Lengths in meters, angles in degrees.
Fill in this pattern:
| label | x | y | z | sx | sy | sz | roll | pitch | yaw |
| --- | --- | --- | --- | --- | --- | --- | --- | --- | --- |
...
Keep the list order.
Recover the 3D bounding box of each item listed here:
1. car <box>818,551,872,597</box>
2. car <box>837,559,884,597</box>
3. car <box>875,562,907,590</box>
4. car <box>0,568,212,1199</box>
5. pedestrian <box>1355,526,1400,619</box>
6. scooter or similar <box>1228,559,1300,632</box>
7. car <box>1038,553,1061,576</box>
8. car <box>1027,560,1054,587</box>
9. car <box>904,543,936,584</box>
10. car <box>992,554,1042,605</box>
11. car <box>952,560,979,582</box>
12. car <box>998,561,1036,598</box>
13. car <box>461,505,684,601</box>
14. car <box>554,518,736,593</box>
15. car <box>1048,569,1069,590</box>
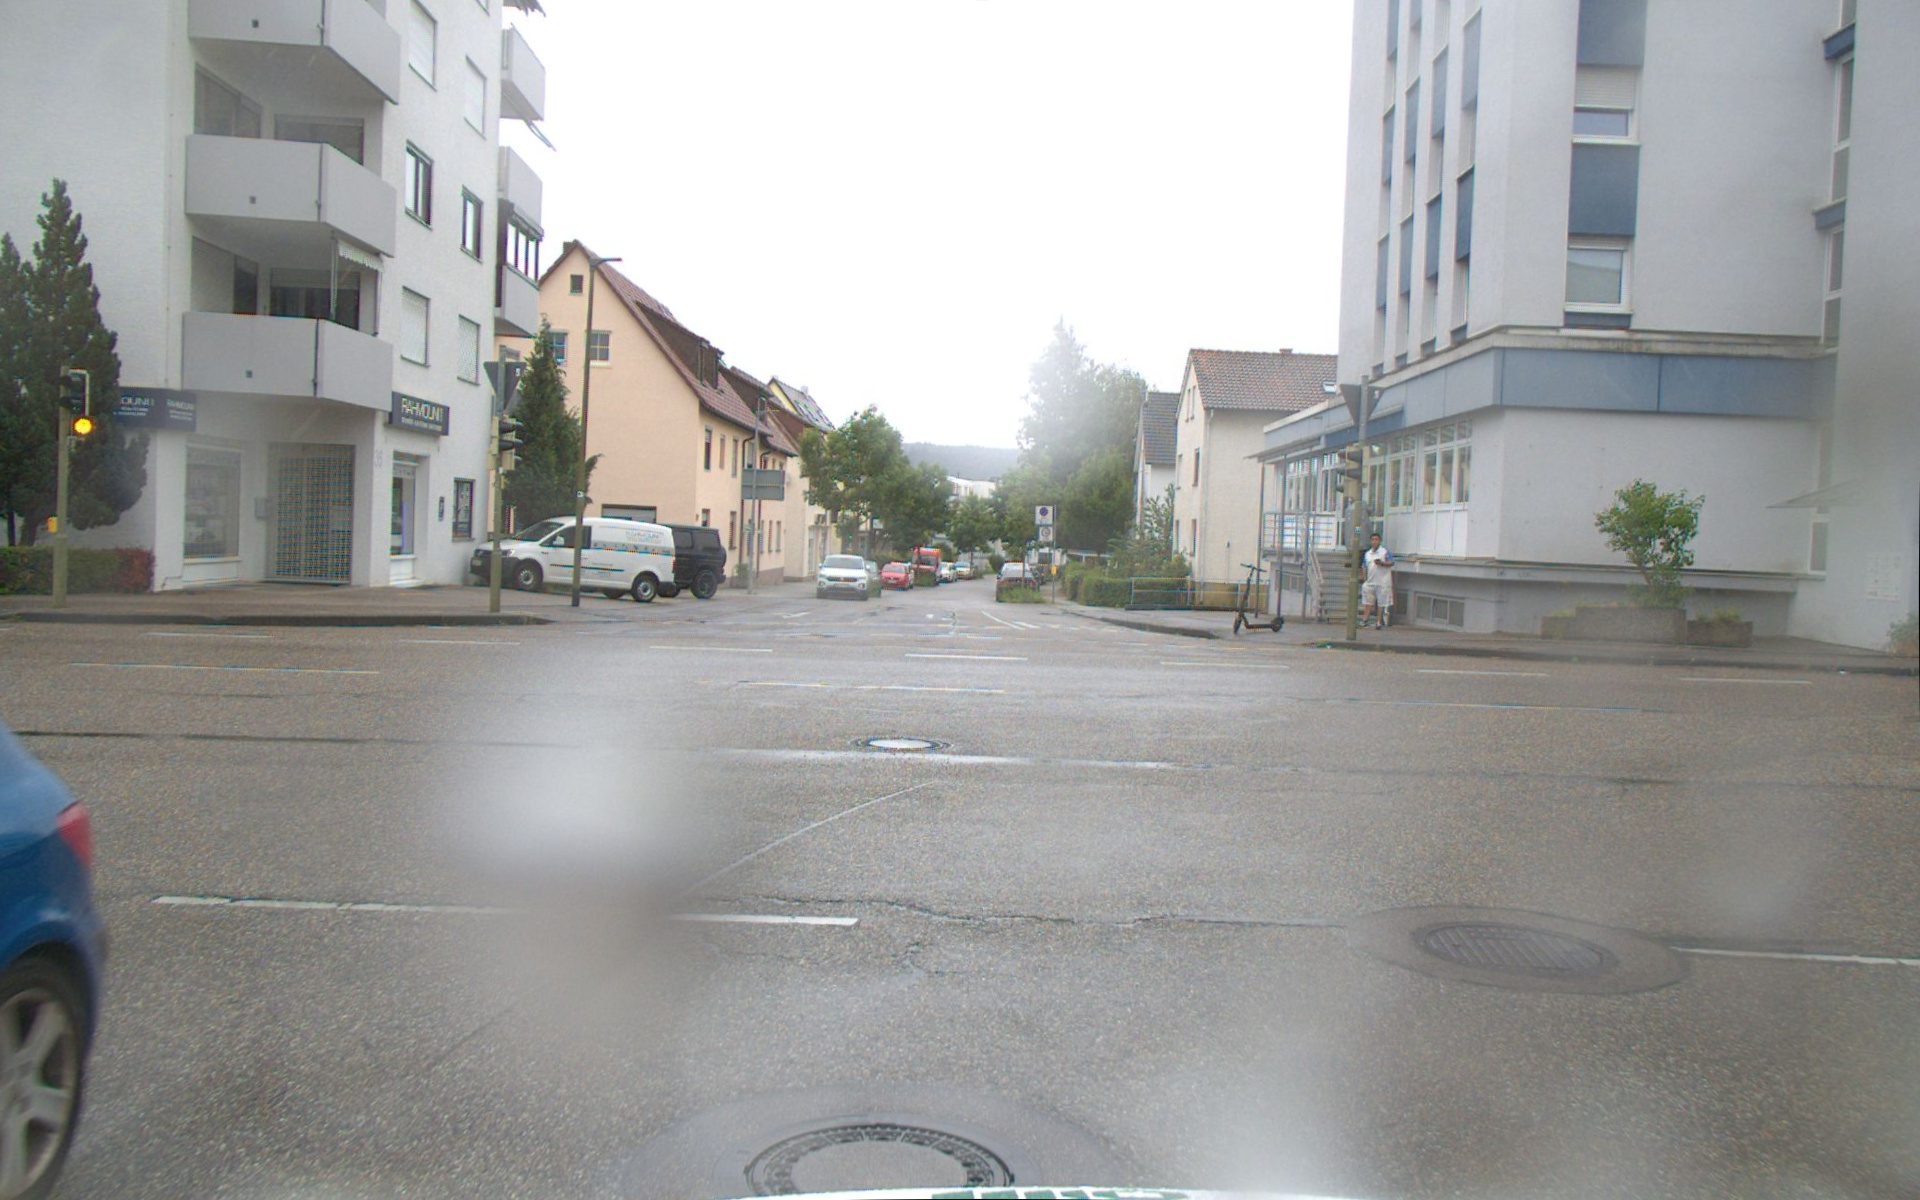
| label | x | y | z | sx | sy | sz | roll | pitch | yaw |
| --- | --- | --- | --- | --- | --- | --- | --- | --- | --- |
| car | -4.041 | -0.908 | 58.583 | 1.731 | 1.549 | 3.999 | 1 | 1 | -2 |
| car | -4.185 | -0.928 | 70.192 | 1.731 | 1.545 | 4.194 | 1 | 1 | 0 |
| car | -3.987 | -1.365 | 95.097 | 1.732 | 1.545 | 3.998 | 1 | 1 | -3 |
| car | -2.762 | 0.626 | 2.334 | 1.732 | 1.471 | 3.997 | 1 | -2 | -3 |
| pedestrian | 7.707 | -0.494 | 30.566 | 0.641 | 1.681 | 0.646 | 1 | -2 | 0 |
| scooter or similar | 5.395 | -0.066 | 29.367 | 1.039 | 1.249 | 0.800 | 2 | -2 | -10 |
| car | 8.263 | -3.226 | 152.997 | 1.951 | 2.049 | 4.002 | 1 | 0 | 5 |
| car | 6.271 | -2.061 | 128.635 | 1.951 | 2.049 | 4.002 | 1 | 0 | 5 |
| car | -2.793 | -2.556 | 118.055 | 2.171 | 2.817 | 5.724 | 1 | 0 | -1 |
| car | 2.512 | -0.872 | 72.088 | 1.951 | 2.049 | 4.002 | 1 | -2 | 5 |
| car | 0.472 | -2.533 | 144.736 | 1.951 | 1.736 | 4.002 | 1 | -2 | 6 |
| car | 3.295 | -1.155 | 94.431 | 1.951 | 2.049 | 4.002 | 1 | 0 | 5 |
| car | -8.912 | -1.044 | 38.294 | 4.684 | 1.809 | 1.748 | 5 | -2 | -40 |
| car | -8.628 | -1.194 | 45.459 | 4.578 | 1.922 | 1.935 | 0 | 1 | -40 |
| car | 9.605 | -1.985 | 161.690 | 1.951 | 2.049 | 4.002 | 1 | 0 | 5 |
